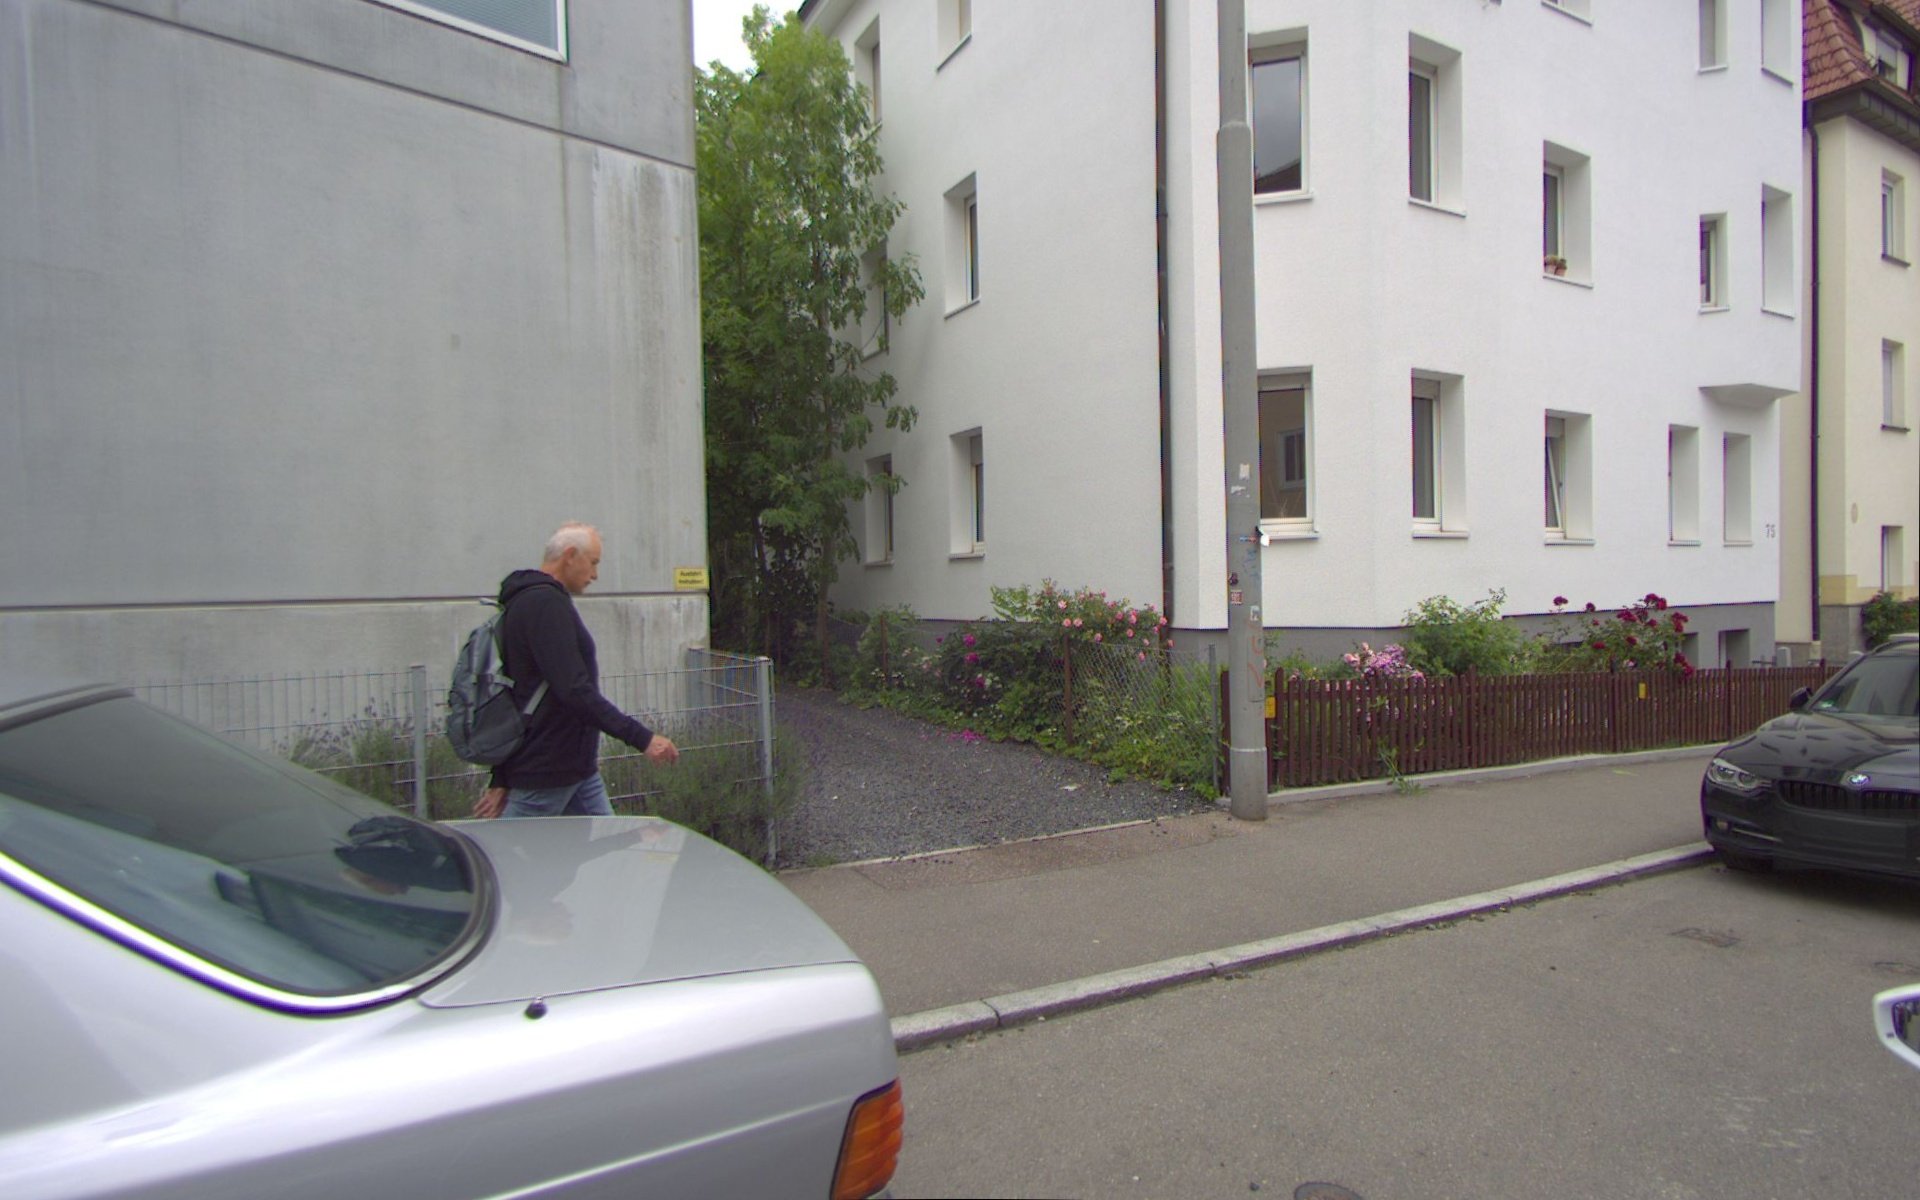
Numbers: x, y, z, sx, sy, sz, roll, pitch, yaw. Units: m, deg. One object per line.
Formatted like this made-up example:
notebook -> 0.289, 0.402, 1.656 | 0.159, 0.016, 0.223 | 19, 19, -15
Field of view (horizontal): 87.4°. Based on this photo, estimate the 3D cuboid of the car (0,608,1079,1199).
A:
car -> -2.417, 0.707, 1.062 | 5.005, 1.431, 1.835 | 2, -1, -32

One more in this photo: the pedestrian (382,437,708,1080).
pedestrian -> -1.349, 0.480, 3.455 | 0.831, 1.909, 0.818 | 0, -1, -8

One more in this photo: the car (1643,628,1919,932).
car -> 6.433, 0.940, 6.317 | 4.452, 1.476, 1.836 | 2, -2, -31
